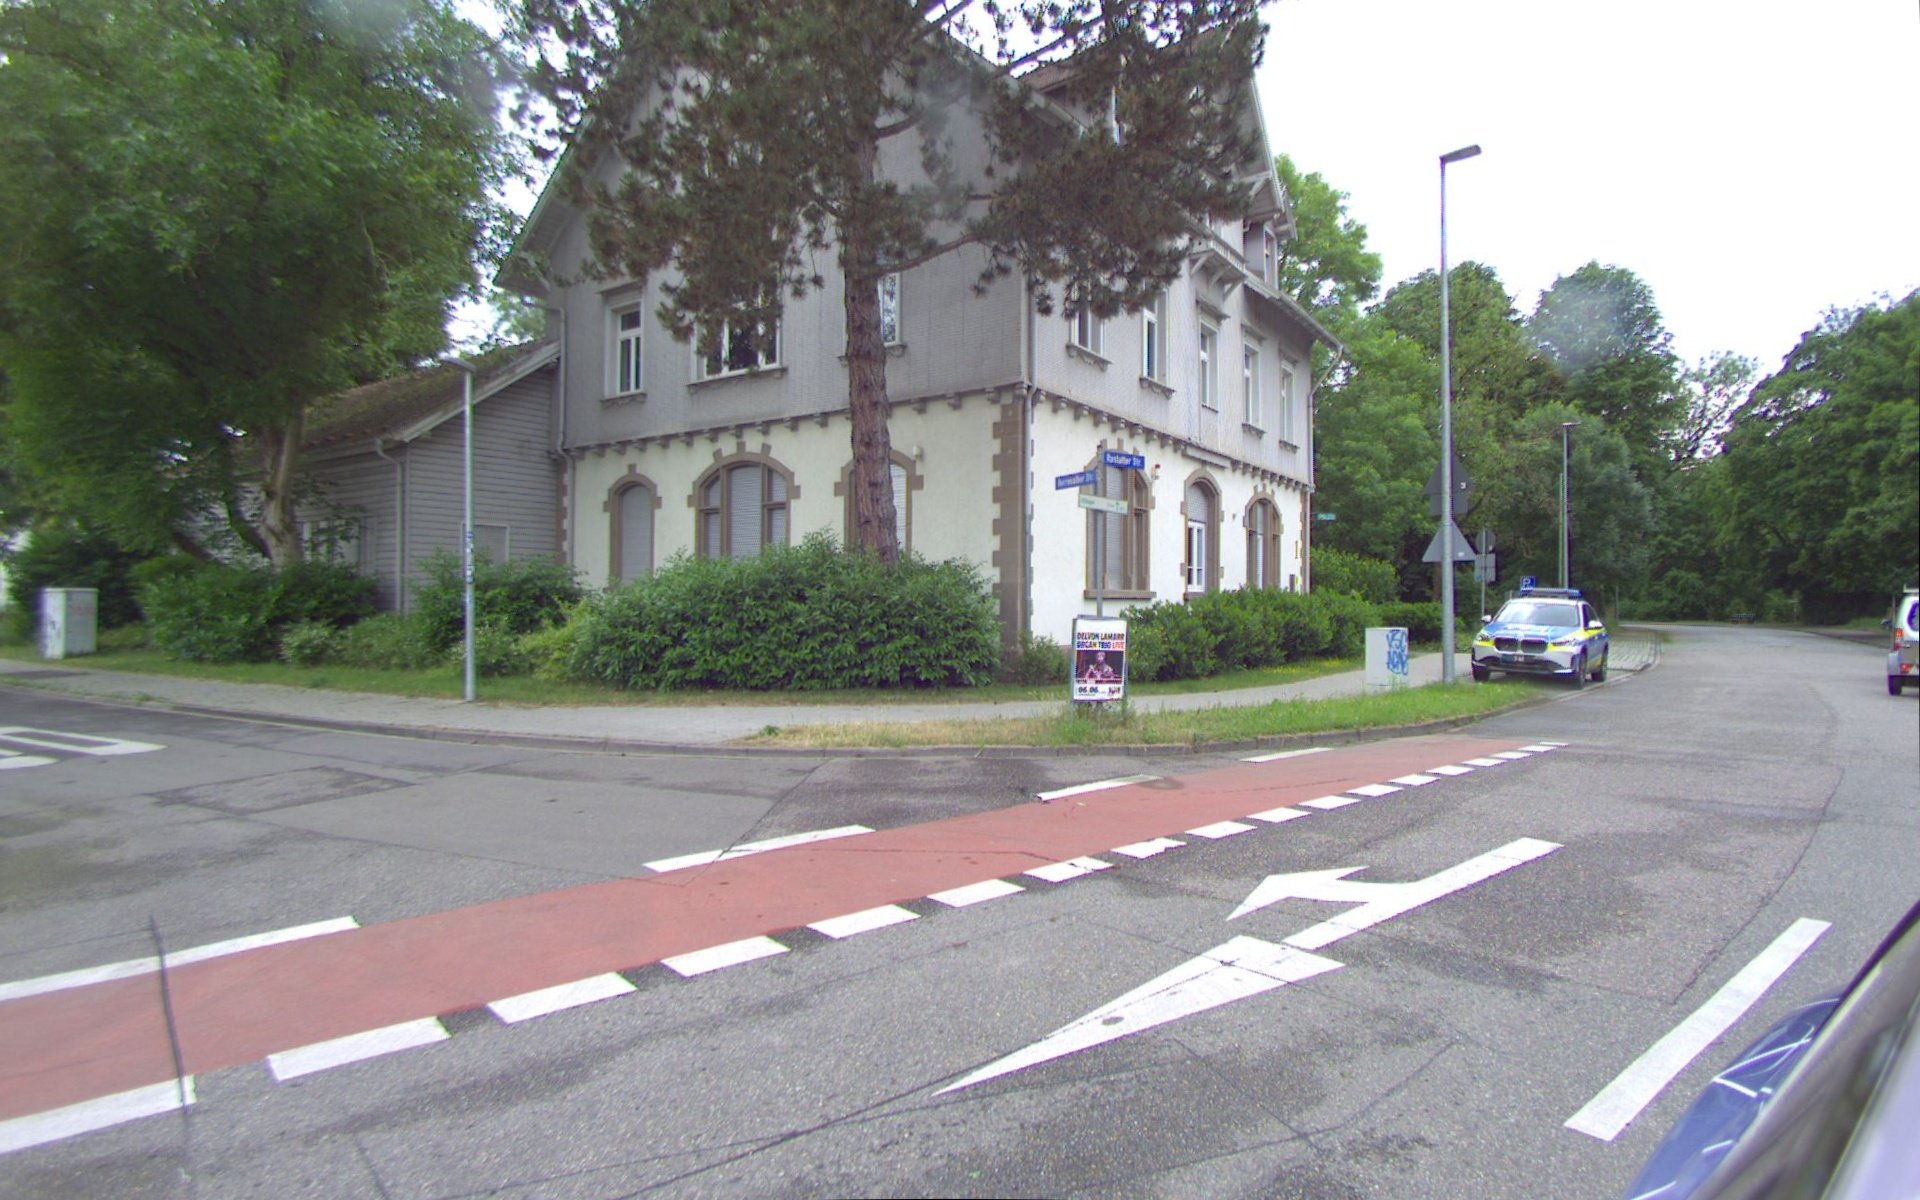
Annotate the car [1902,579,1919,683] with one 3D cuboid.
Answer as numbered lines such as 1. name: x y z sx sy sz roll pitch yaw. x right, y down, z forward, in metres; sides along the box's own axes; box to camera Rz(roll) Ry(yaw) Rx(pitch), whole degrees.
1. car: 19.380 0.530 19.139 4.153 1.881 2.089 0 -1 -44

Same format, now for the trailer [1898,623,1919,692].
1. trailer: 16.587 0.934 16.591 3.407 0.998 1.568 0 0 -43

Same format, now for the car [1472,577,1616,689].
1. car: 11.325 0.552 19.509 1.926 1.873 3.947 2 1 37
